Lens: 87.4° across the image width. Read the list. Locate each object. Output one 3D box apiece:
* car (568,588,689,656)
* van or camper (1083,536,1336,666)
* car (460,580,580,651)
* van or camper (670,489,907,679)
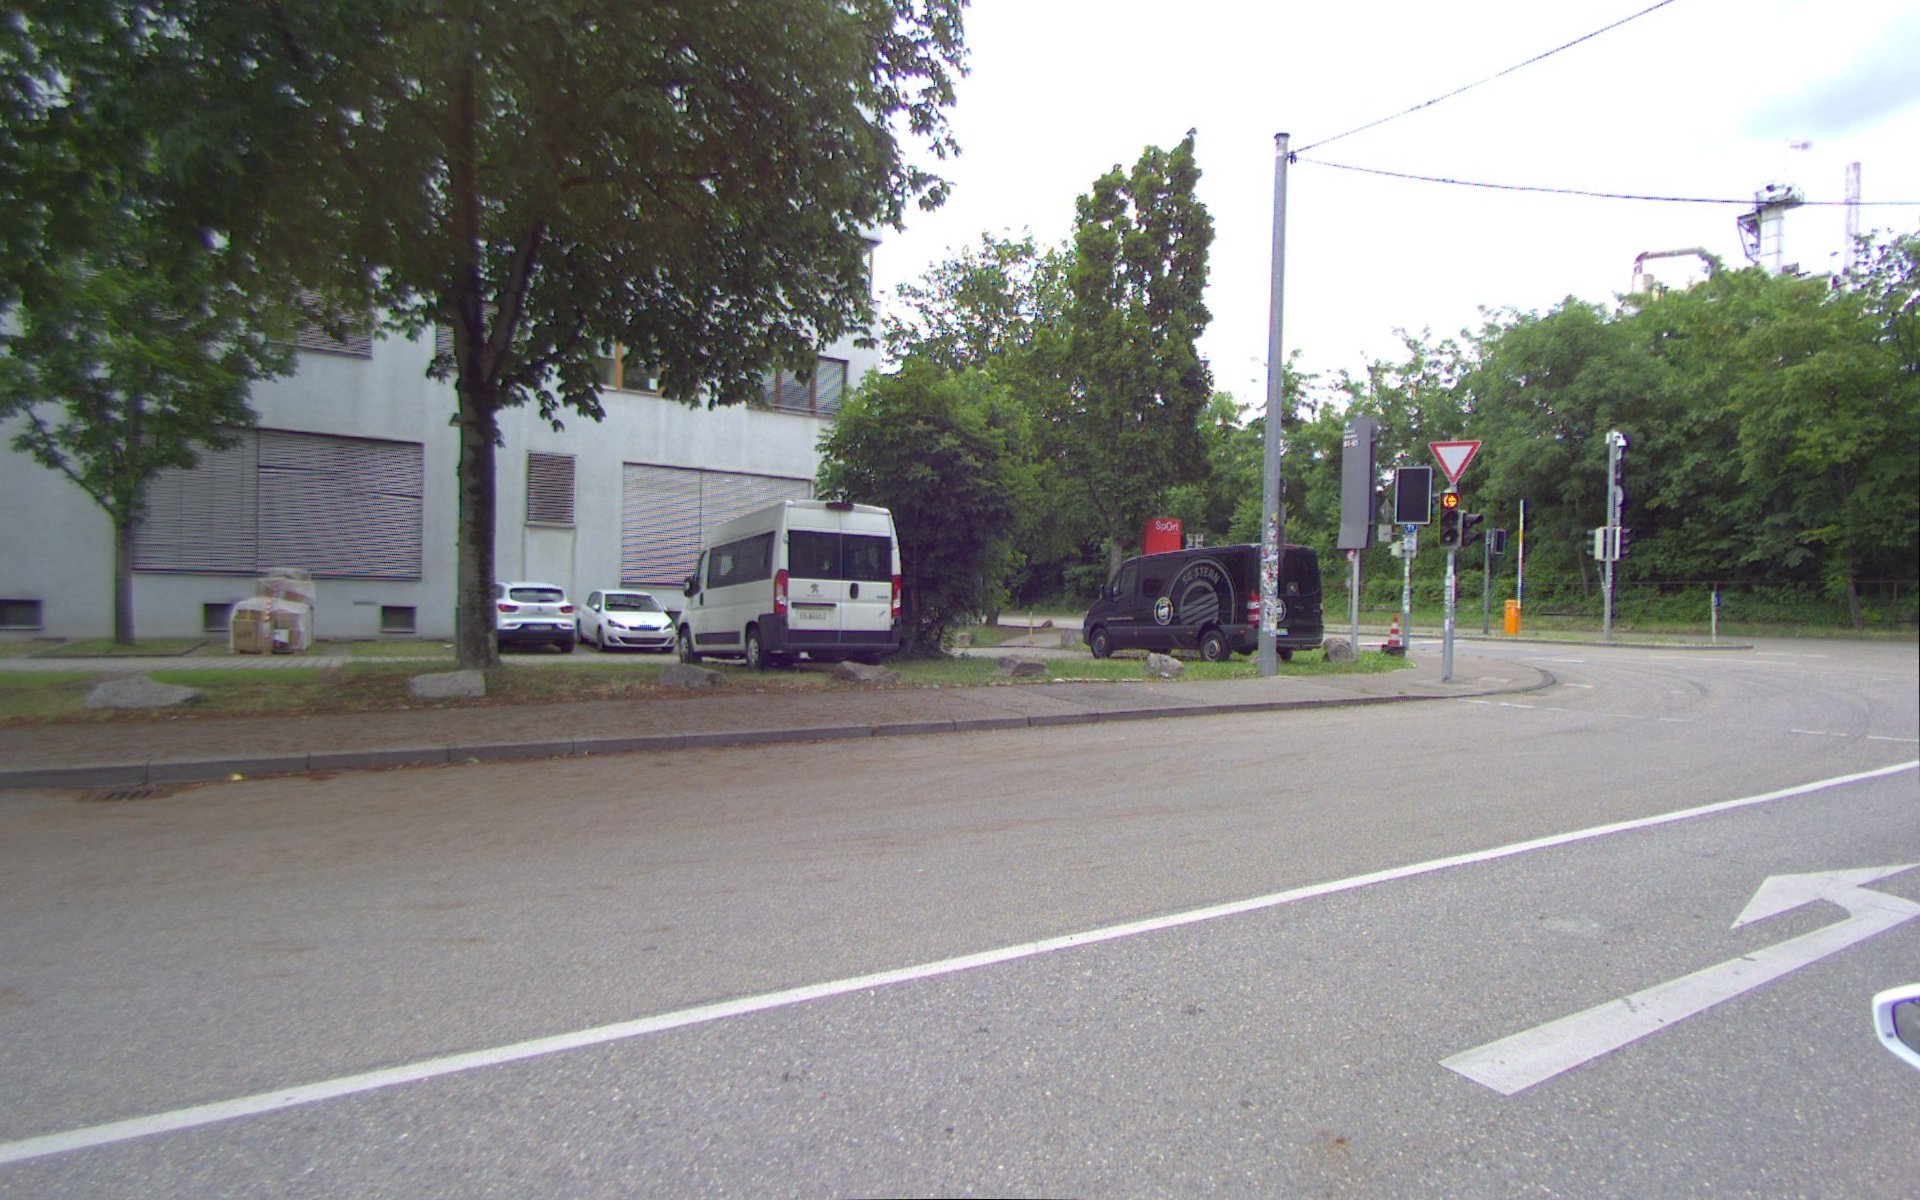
[{"bbox_3d":[-8.507,0.524,25.576,1.881,1.475,3.972,3,0,-34],"label":"car"},{"bbox_3d":[5.039,0.125,21.274,2.036,2.343,5.513,3,-3,-28],"label":"van or camper"},{"bbox_3d":[-10.572,0.336,23.978,1.881,1.475,3.972,3,0,-34],"label":"car"},{"bbox_3d":[-2.990,-0.241,16.434,2.039,2.604,4.943,3,0,-32],"label":"van or camper"}]
